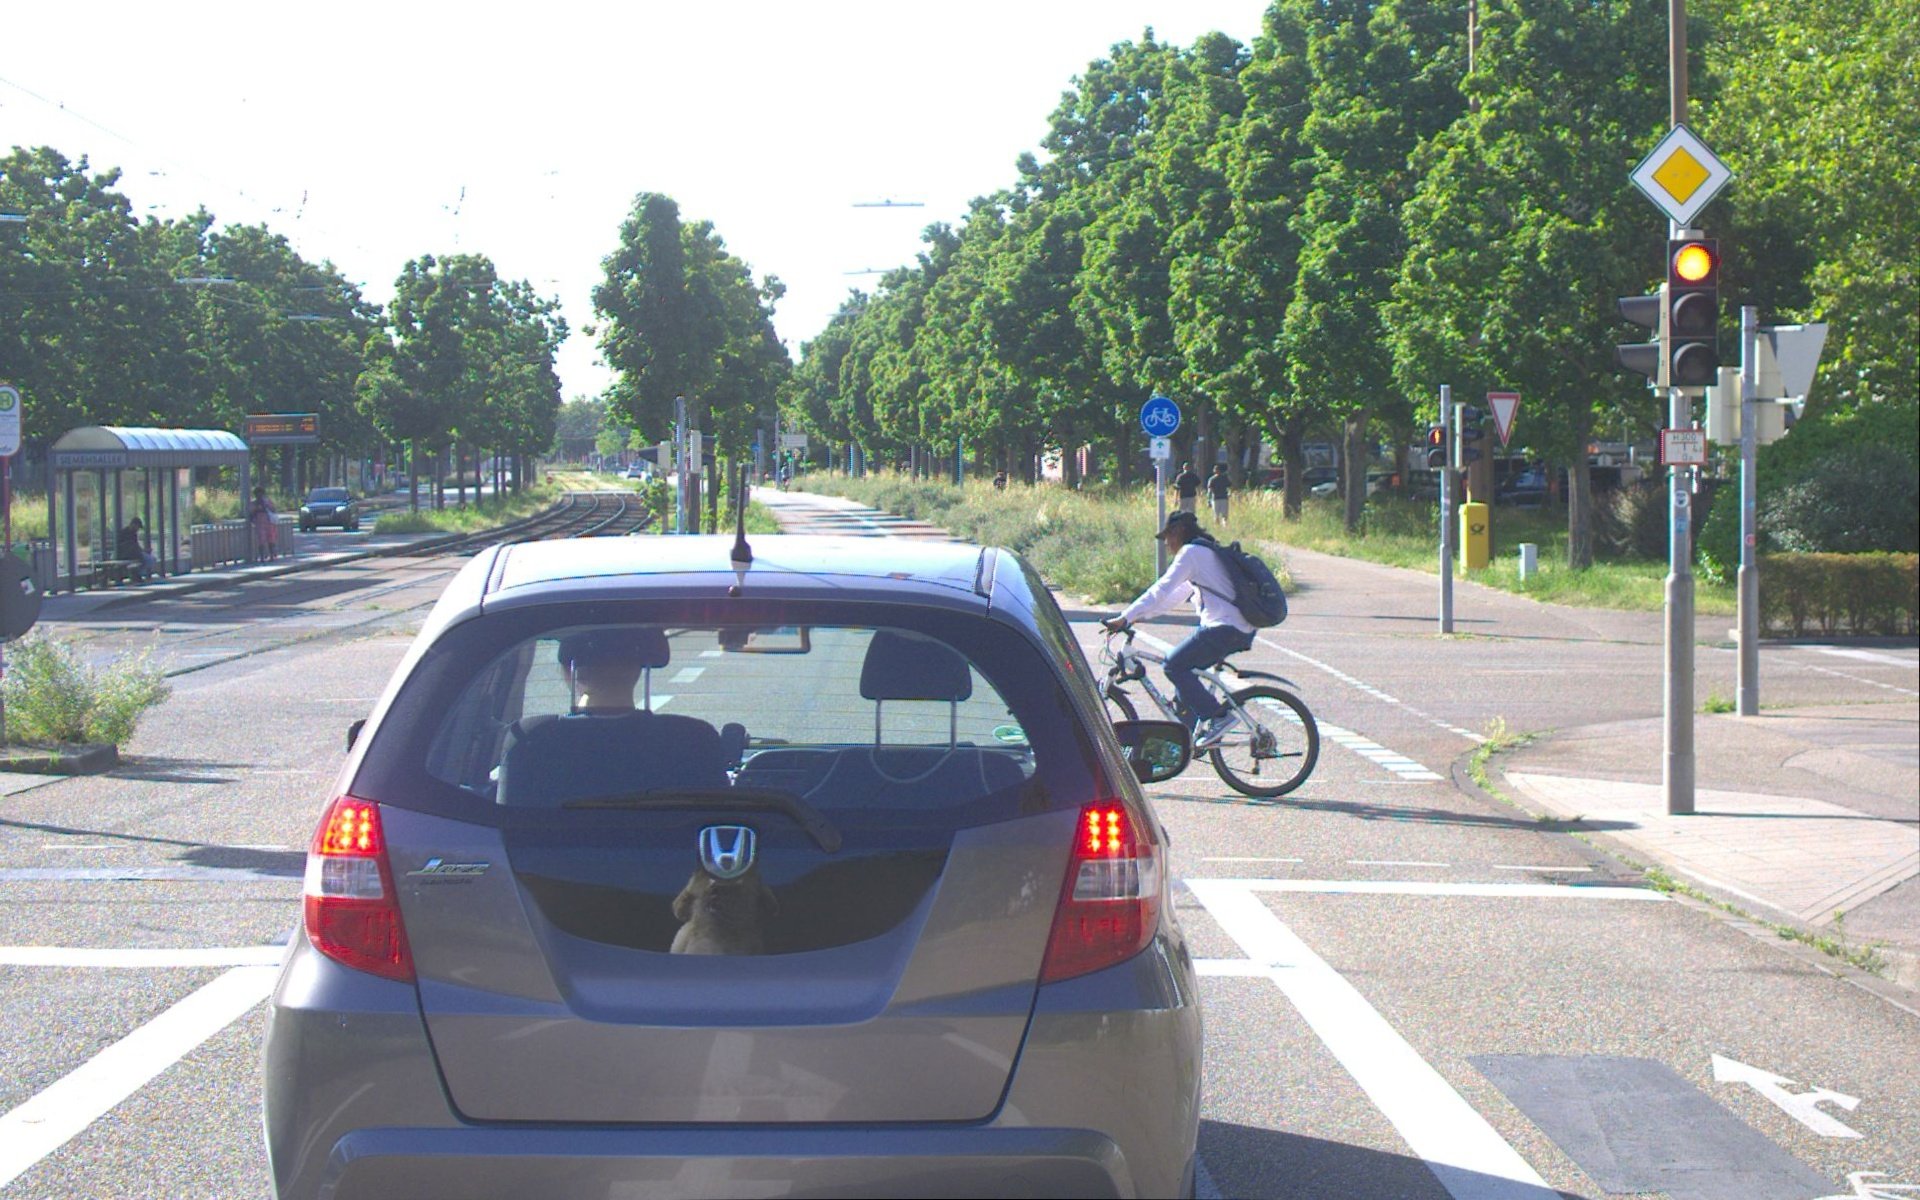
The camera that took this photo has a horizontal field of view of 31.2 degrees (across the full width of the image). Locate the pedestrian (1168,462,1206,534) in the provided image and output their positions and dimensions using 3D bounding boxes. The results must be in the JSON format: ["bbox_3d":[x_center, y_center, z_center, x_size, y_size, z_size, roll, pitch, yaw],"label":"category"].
[{"bbox_3d":[5.941,-2.672,90.098,0.882,1.877,0.875,-1,2,-4],"label":"pedestrian"}]

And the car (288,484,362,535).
[{"bbox_3d":[-24.286,-3.489,131.621,2.093,1.803,4.794,-2,3,-3],"label":"car"}]

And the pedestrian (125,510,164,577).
[{"bbox_3d":[-15.545,-1.083,65.535,0.563,1.252,0.581,-3,1,-1],"label":"pedestrian"}]

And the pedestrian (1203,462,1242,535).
[{"bbox_3d":[6.880,-2.660,90.116,0.882,1.877,0.875,-1,2,-4],"label":"pedestrian"}]

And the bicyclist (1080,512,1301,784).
[{"bbox_3d":[1.361,0.273,20.497,1.232,1.588,0.805,0,1,-1],"label":"bicyclist"}]

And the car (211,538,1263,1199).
[{"bbox_3d":[-0.385,0.634,7.442,1.701,1.518,3.710,0,1,-1],"label":"car"}]

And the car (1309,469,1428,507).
[{"bbox_3d":[17.144,-4.716,144.537,4.630,1.550,2.001,-1,2,-6],"label":"car"}]

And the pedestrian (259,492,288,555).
[{"bbox_3d":[-15.997,-1.778,80.088,0.544,1.442,0.559,-1,1,-1],"label":"pedestrian"}]

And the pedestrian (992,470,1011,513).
[{"bbox_3d":[1.685,-4.381,138.676,0.725,1.685,0.821,0,-1,-3],"label":"pedestrian"}]

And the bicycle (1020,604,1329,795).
[{"bbox_3d":[1.265,0.584,20.516,1.775,1.098,0.699,0,1,-1],"label":"bicycle"}]
